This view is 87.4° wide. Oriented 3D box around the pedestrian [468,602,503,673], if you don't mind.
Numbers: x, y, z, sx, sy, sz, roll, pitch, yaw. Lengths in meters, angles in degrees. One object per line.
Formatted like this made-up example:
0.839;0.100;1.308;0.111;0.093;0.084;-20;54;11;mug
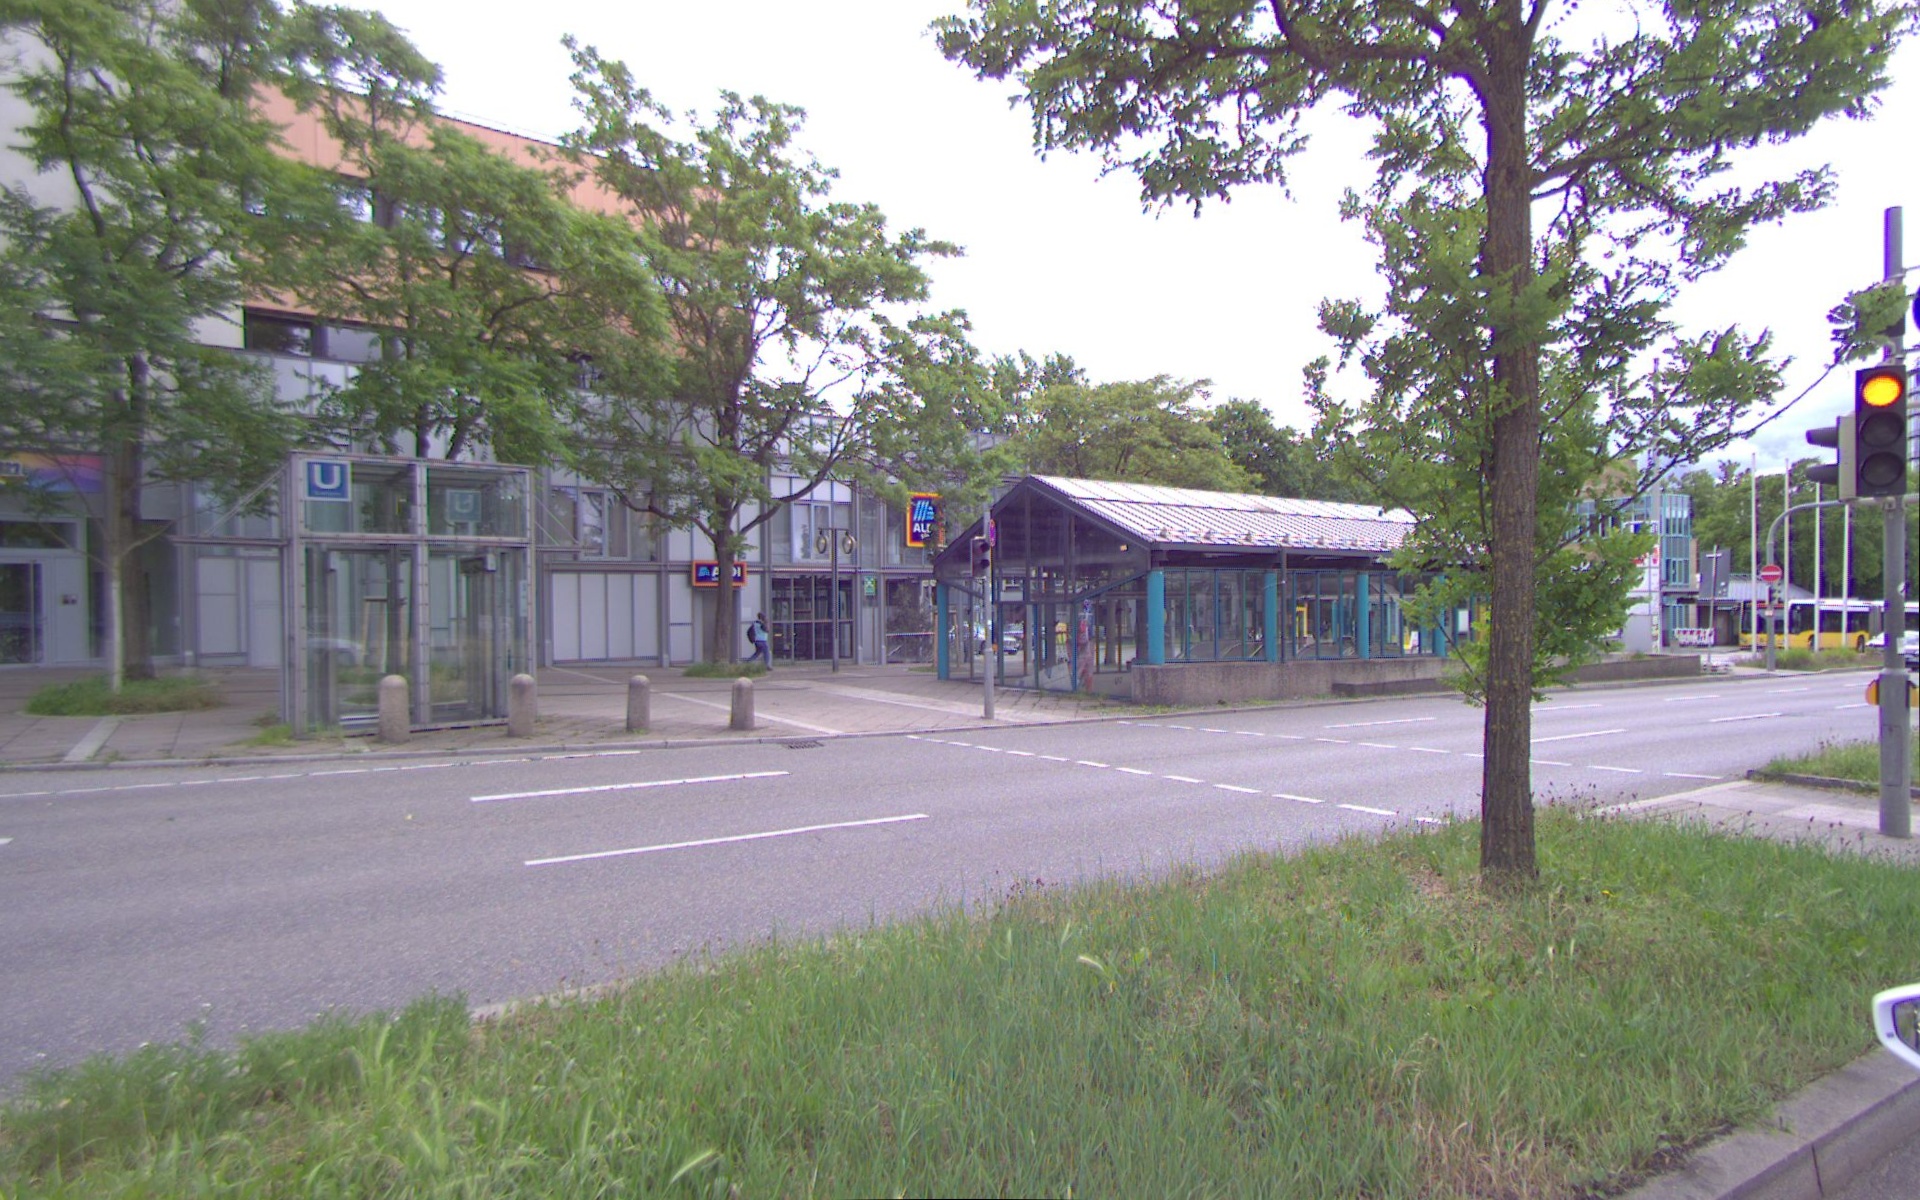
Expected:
-11.942;0.933;25.271;0.674;1.750;0.560;1;-1;-39;pedestrian

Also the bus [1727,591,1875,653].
50.200;1.362;59.855;10.592;3.476;2.822;1;-1;-26;bus

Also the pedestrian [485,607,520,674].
-11.341;0.994;24.907;0.674;1.610;0.513;1;-1;-39;pedestrian

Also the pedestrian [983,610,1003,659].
1.226;1.275;37.249;0.693;1.739;0.772;2;1;1;pedestrian

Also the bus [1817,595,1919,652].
59.425;1.565;64.482;10.592;3.476;2.822;1;-1;-26;bus

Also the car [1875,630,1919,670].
37.800;1.943;39.277;3.955;1.505;1.983;1;-1;-32;car

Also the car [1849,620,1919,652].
51.277;1.982;55.713;3.951;1.684;1.798;1;-1;-29;car

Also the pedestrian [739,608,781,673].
-5.619;1.125;28.248;0.879;1.739;0.764;1;2;-39;pedestrian

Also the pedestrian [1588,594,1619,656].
21.689;0.842;33.844;0.639;2.040;0.677;1;-1;-34;pedestrian
